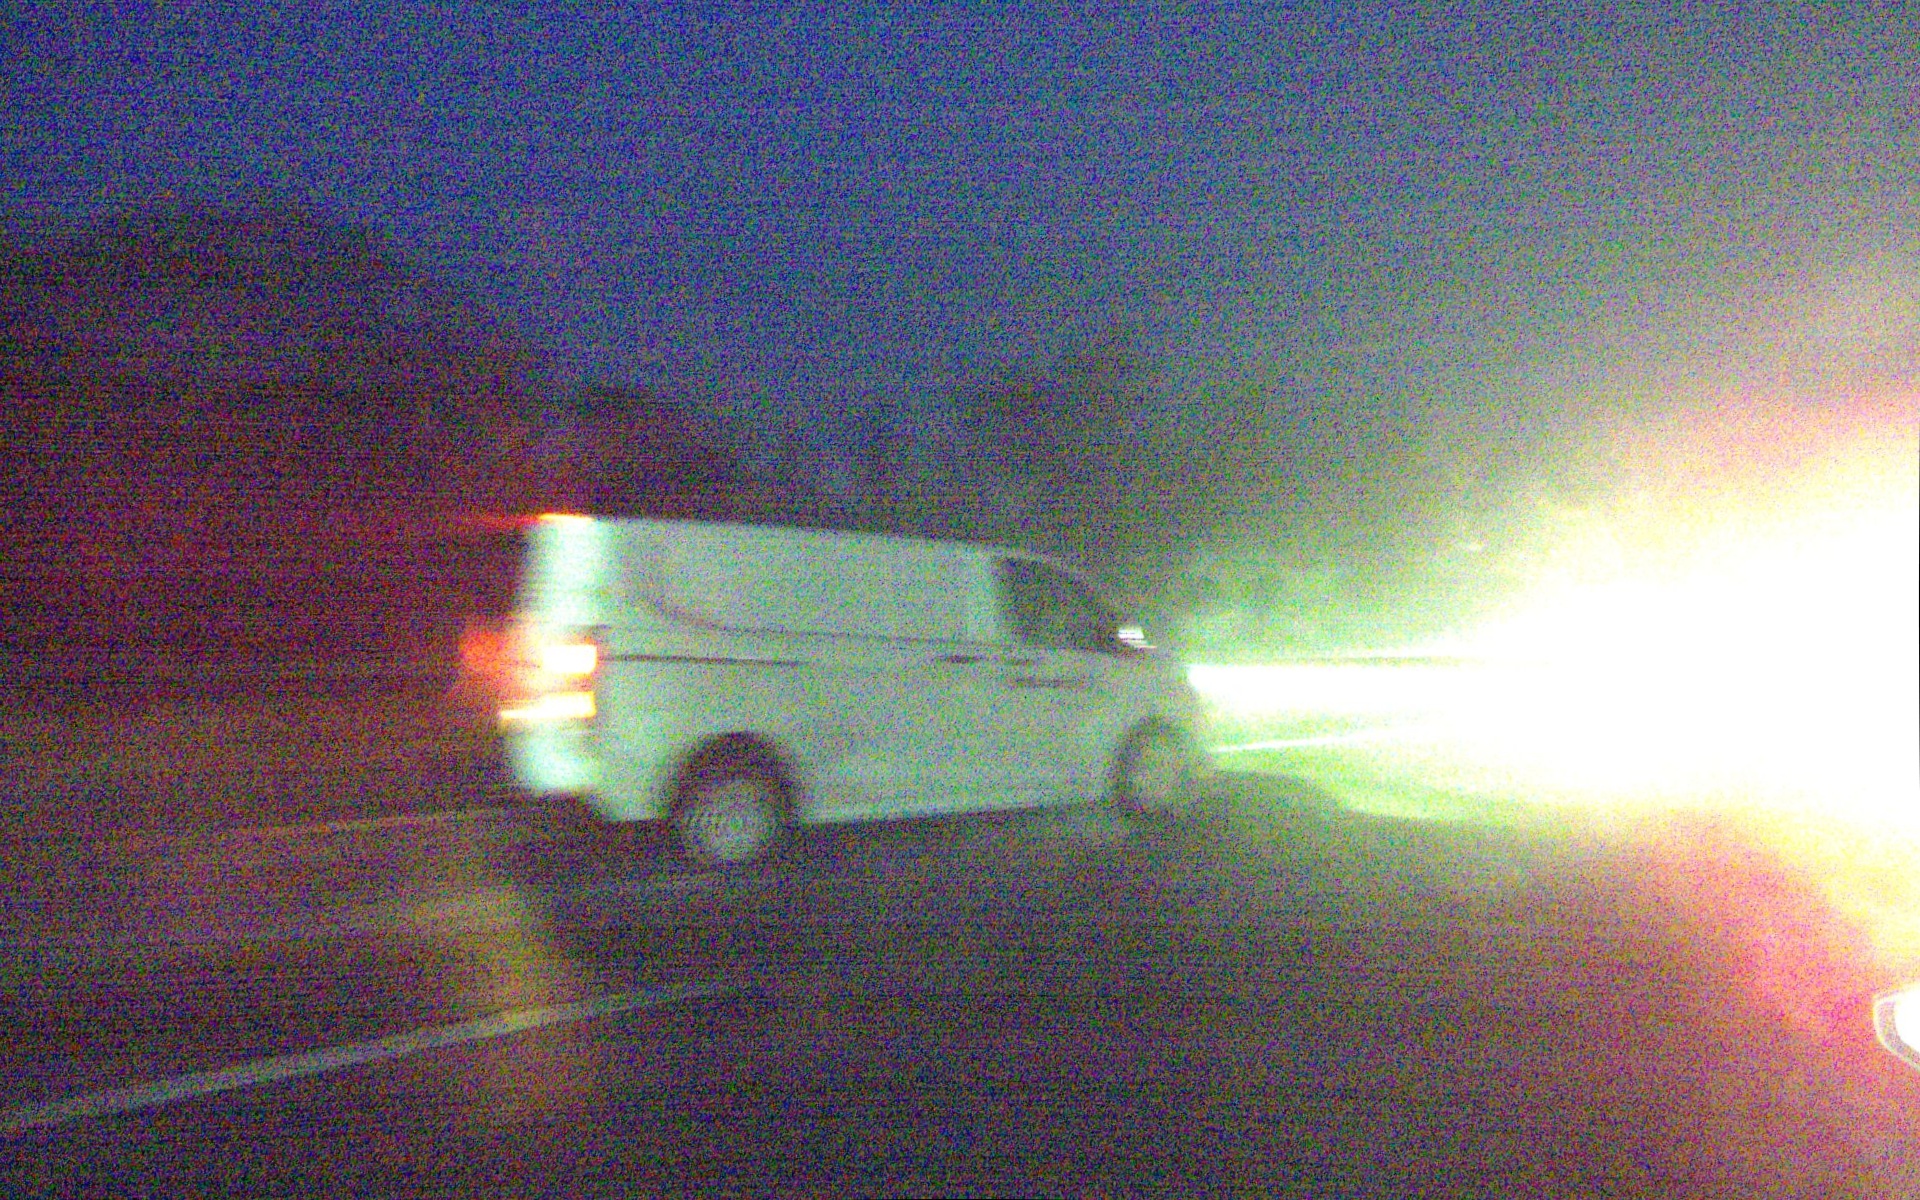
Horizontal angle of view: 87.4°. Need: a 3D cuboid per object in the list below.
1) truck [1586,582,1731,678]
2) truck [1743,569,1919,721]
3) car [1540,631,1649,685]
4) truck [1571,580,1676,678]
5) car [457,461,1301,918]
[{"bbox_3d":[44.700,1.935,64.048,12.664,5.666,3.219,2,0,-34],"label":"truck"},{"bbox_3d":[16.022,0.741,16.922,5.799,2.230,2.839,2,0,-34],"label":"truck"},{"bbox_3d":[23.158,2.095,36.622,4.350,1.777,1.709,2,0,-33],"label":"car"},{"bbox_3d":[40.255,1.762,60.920,5.817,5.666,3.219,2,0,-34],"label":"truck"},{"bbox_3d":[-0.331,0.483,7.065,5.566,2.132,2.112,2,-1,-32],"label":"car"}]
